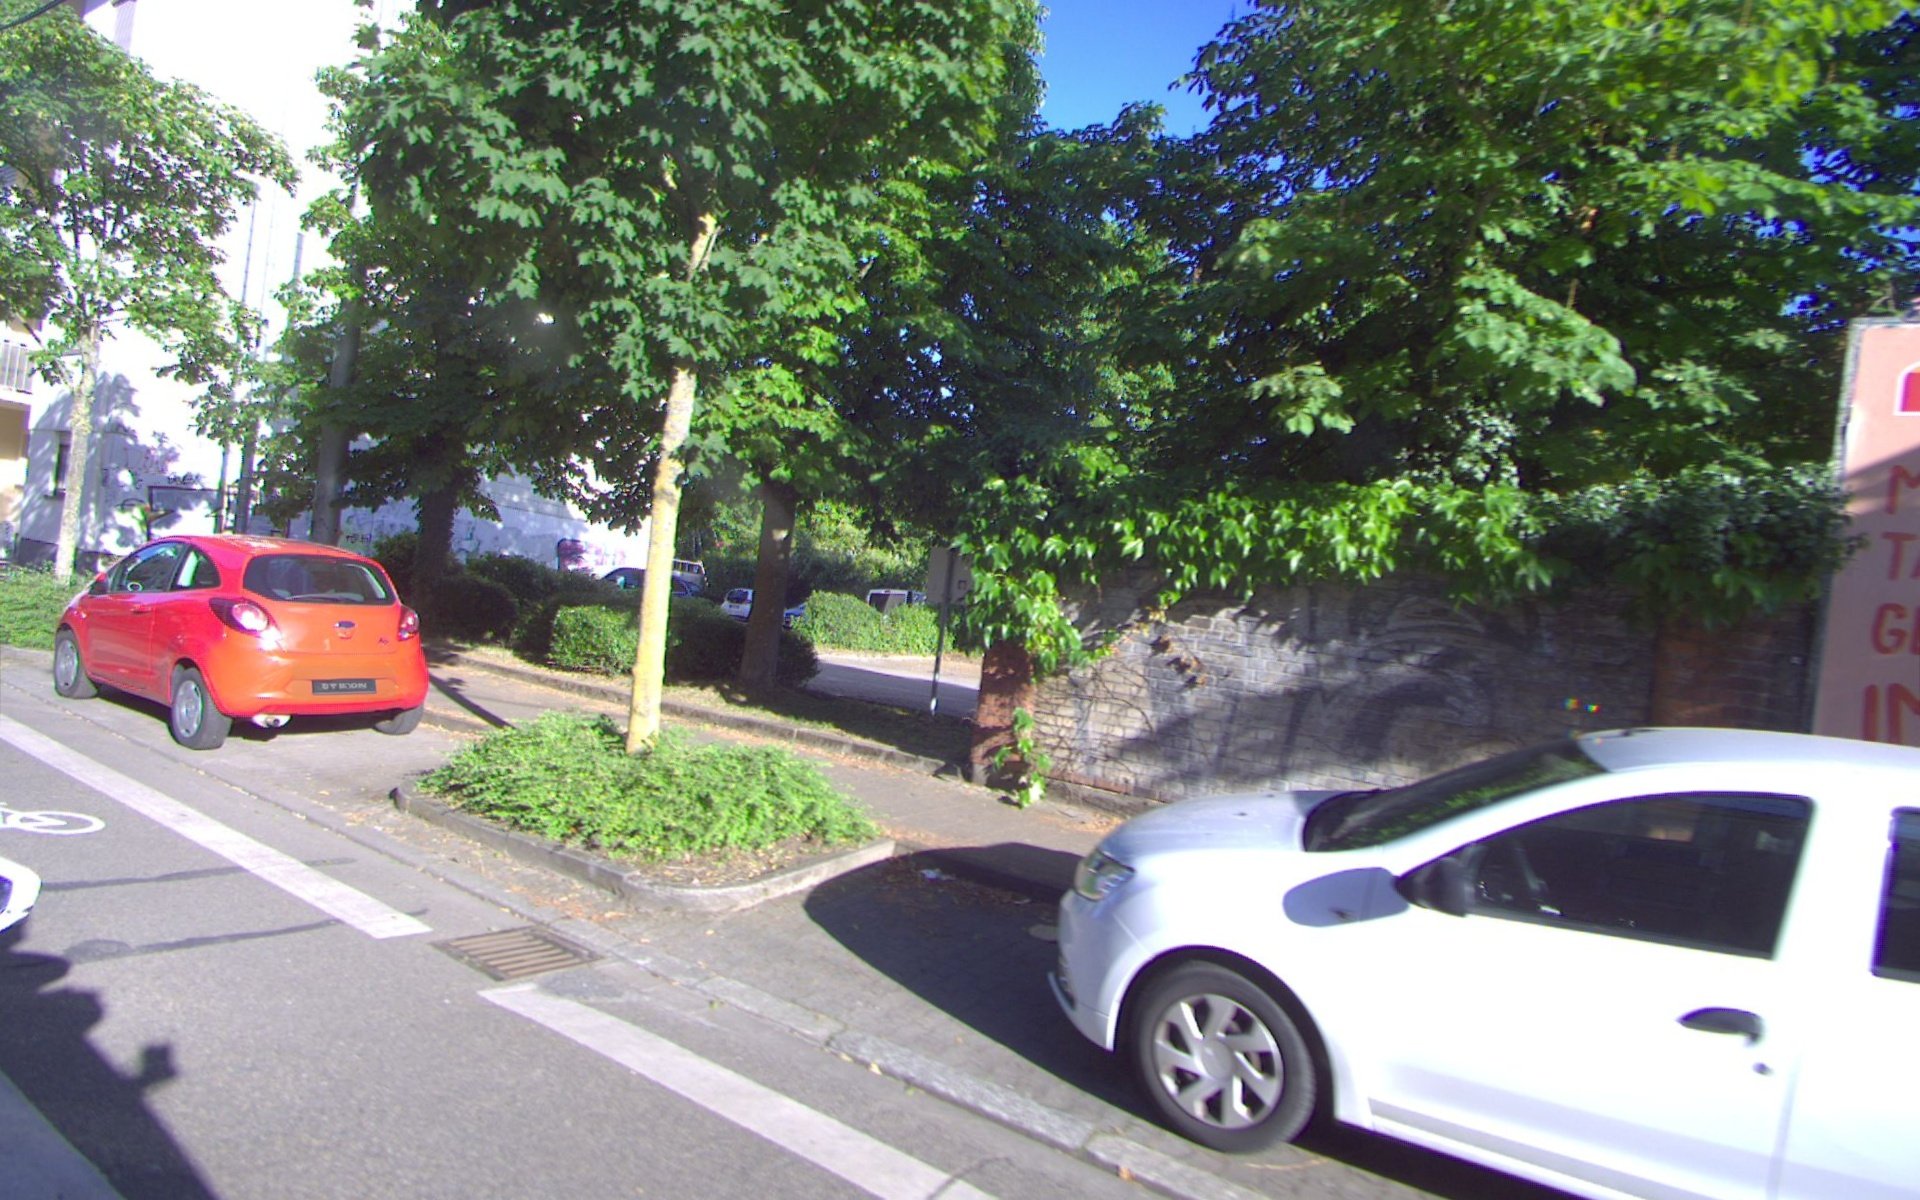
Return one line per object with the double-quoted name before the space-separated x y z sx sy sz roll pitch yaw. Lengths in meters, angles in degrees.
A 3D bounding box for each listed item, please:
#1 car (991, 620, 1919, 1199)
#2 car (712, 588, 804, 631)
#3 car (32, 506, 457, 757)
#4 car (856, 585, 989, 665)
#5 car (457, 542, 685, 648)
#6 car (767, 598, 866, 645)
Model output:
"car" 2.284 1.083 3.334 3.935 1.549 1.690 6 0 33
"car" -9.147 0.471 45.855 1.862 1.504 3.994 7 -1 30
"car" -5.945 0.173 8.296 3.341 1.528 1.636 7 1 32
"car" -1.122 0.886 33.149 1.966 2.005 4.828 7 -3 30
"car" -8.147 -0.041 21.471 1.861 1.642 4.161 7 -3 30
"car" -5.837 0.924 41.461 1.862 1.504 3.994 7 -1 30
